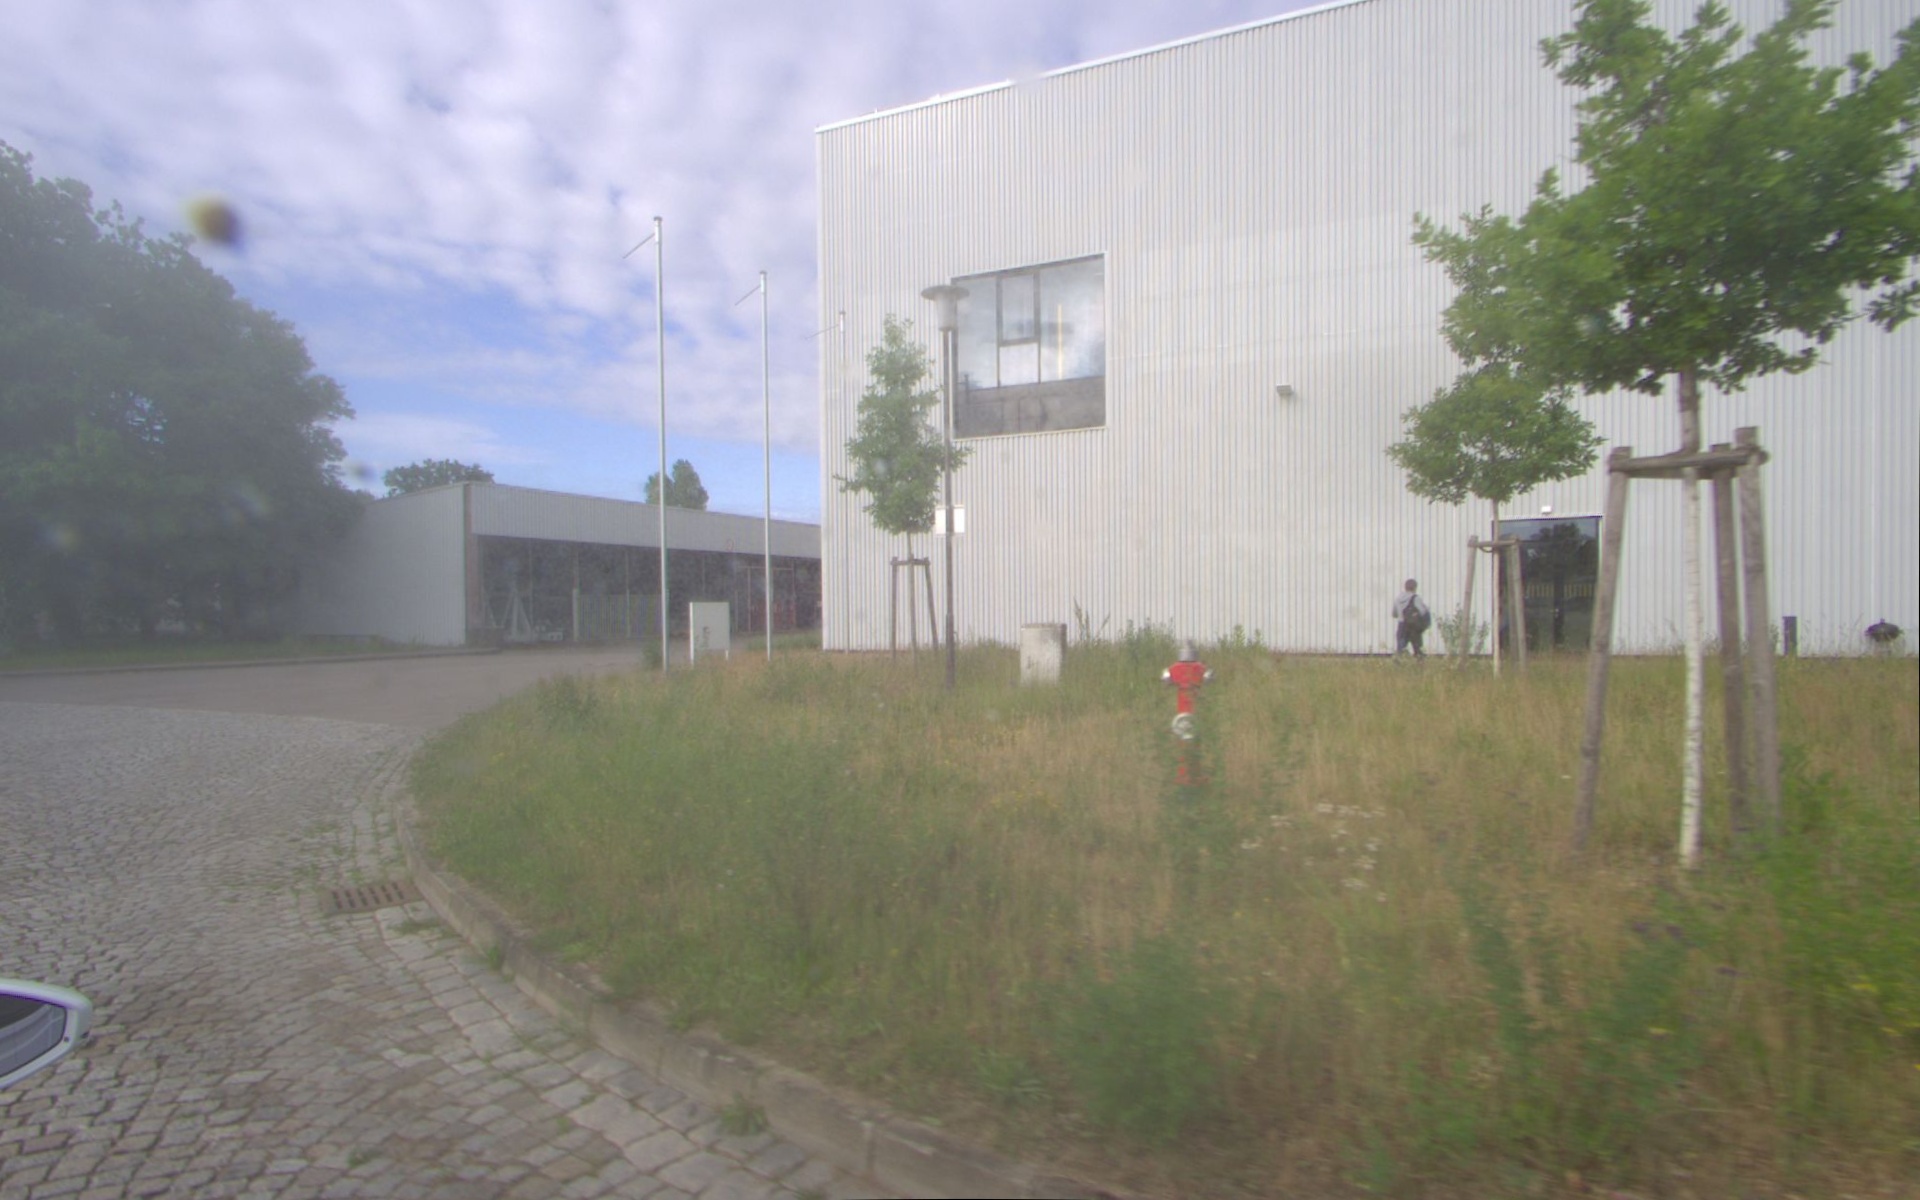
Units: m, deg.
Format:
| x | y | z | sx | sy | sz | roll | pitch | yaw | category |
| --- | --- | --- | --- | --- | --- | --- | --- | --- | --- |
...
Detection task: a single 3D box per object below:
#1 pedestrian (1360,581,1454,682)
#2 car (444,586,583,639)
| x | y | z | sx | sy | sz | roll | pitch | yaw | category |
| --- | --- | --- | --- | --- | --- | --- | --- | --- | --- |
| 7.321 | 0.500 | 16.391 | 1.067 | 1.577 | 1.065 | -1 | 1 | -42 | pedestrian |
| -18.238 | 0.519 | 40.890 | 5.248 | 2.040 | 2.242 | -1 | 0 | 24 | car |
